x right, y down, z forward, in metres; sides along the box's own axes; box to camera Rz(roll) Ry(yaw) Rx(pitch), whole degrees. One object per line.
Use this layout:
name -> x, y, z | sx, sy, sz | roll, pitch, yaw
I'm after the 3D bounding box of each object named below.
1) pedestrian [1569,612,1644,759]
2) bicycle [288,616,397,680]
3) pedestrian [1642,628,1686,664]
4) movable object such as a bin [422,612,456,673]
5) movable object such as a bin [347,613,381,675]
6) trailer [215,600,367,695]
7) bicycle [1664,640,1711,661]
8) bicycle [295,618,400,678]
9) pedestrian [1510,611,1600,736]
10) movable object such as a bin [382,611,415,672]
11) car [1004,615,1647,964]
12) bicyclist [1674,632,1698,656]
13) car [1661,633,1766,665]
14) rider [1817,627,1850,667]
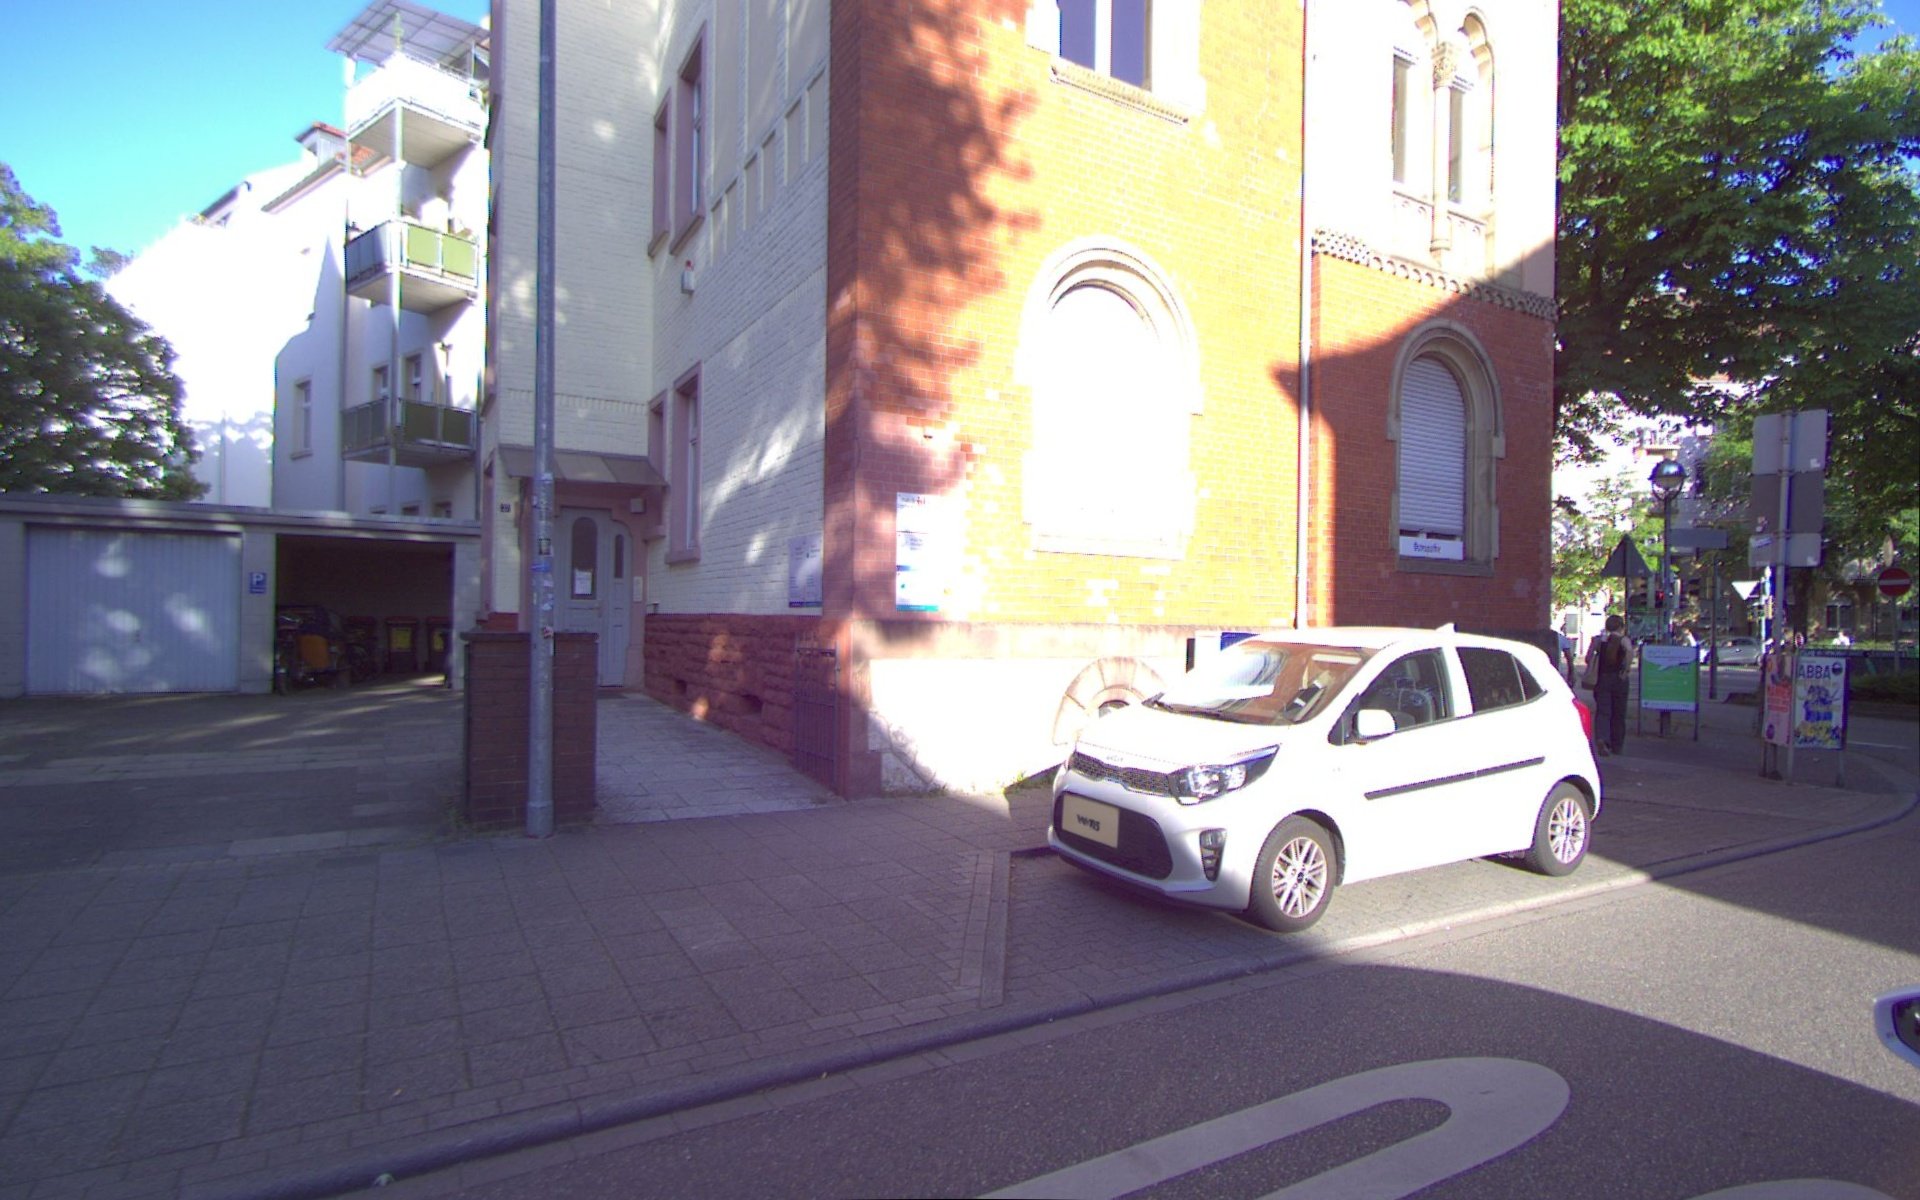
pedestrian -> 7.487, 0.955, 11.624 | 0.593, 1.626, 0.850 | 0, -2, 43
bicycle -> -10.275, 0.805, 16.745 | 1.345, 1.031, 0.674 | 1, -3, 0
pedestrian -> 38.135, 2.489, 54.419 | 1.465, 1.937, 1.260 | 1, -1, -3
movable object such as a bin -> -10.109, 0.814, 19.494 | 0.531, 1.139, 0.773 | 1, -1, -30
movable object such as a bin -> -11.176, 0.818, 18.847 | 0.531, 1.139, 0.773 | 1, -1, -30
trailer -> -9.440, 0.679, 14.318 | 0.757, 1.234, 2.410 | 1, -2, -7
bicycle -> 33.559, 2.335, 46.348 | 1.708, 0.958, 0.654 | 1, -1, -2
bicycle -> -10.578, 0.833, 17.370 | 1.455, 1.004, 0.543 | 1, -3, 0
pedestrian -> 8.264, 0.986, 13.948 | 0.854, 1.665, 0.859 | 2, -1, -41
movable object such as a bin -> -10.759, 0.791, 19.242 | 0.531, 1.139, 0.773 | 1, -1, -30
car -> 2.319, 0.907, 6.192 | 3.752, 1.505, 1.697 | 2, 1, -30
bicyclist -> 33.494, 2.037, 46.353 | 0.664, 1.068, 0.612 | 1, -1, -3
car -> 35.927, 2.330, 47.951 | 3.635, 1.458, 1.900 | 1, -1, -4
rider -> 38.657, 2.058, 44.450 | 0.660, 1.704, 0.818 | 1, 1, -20
